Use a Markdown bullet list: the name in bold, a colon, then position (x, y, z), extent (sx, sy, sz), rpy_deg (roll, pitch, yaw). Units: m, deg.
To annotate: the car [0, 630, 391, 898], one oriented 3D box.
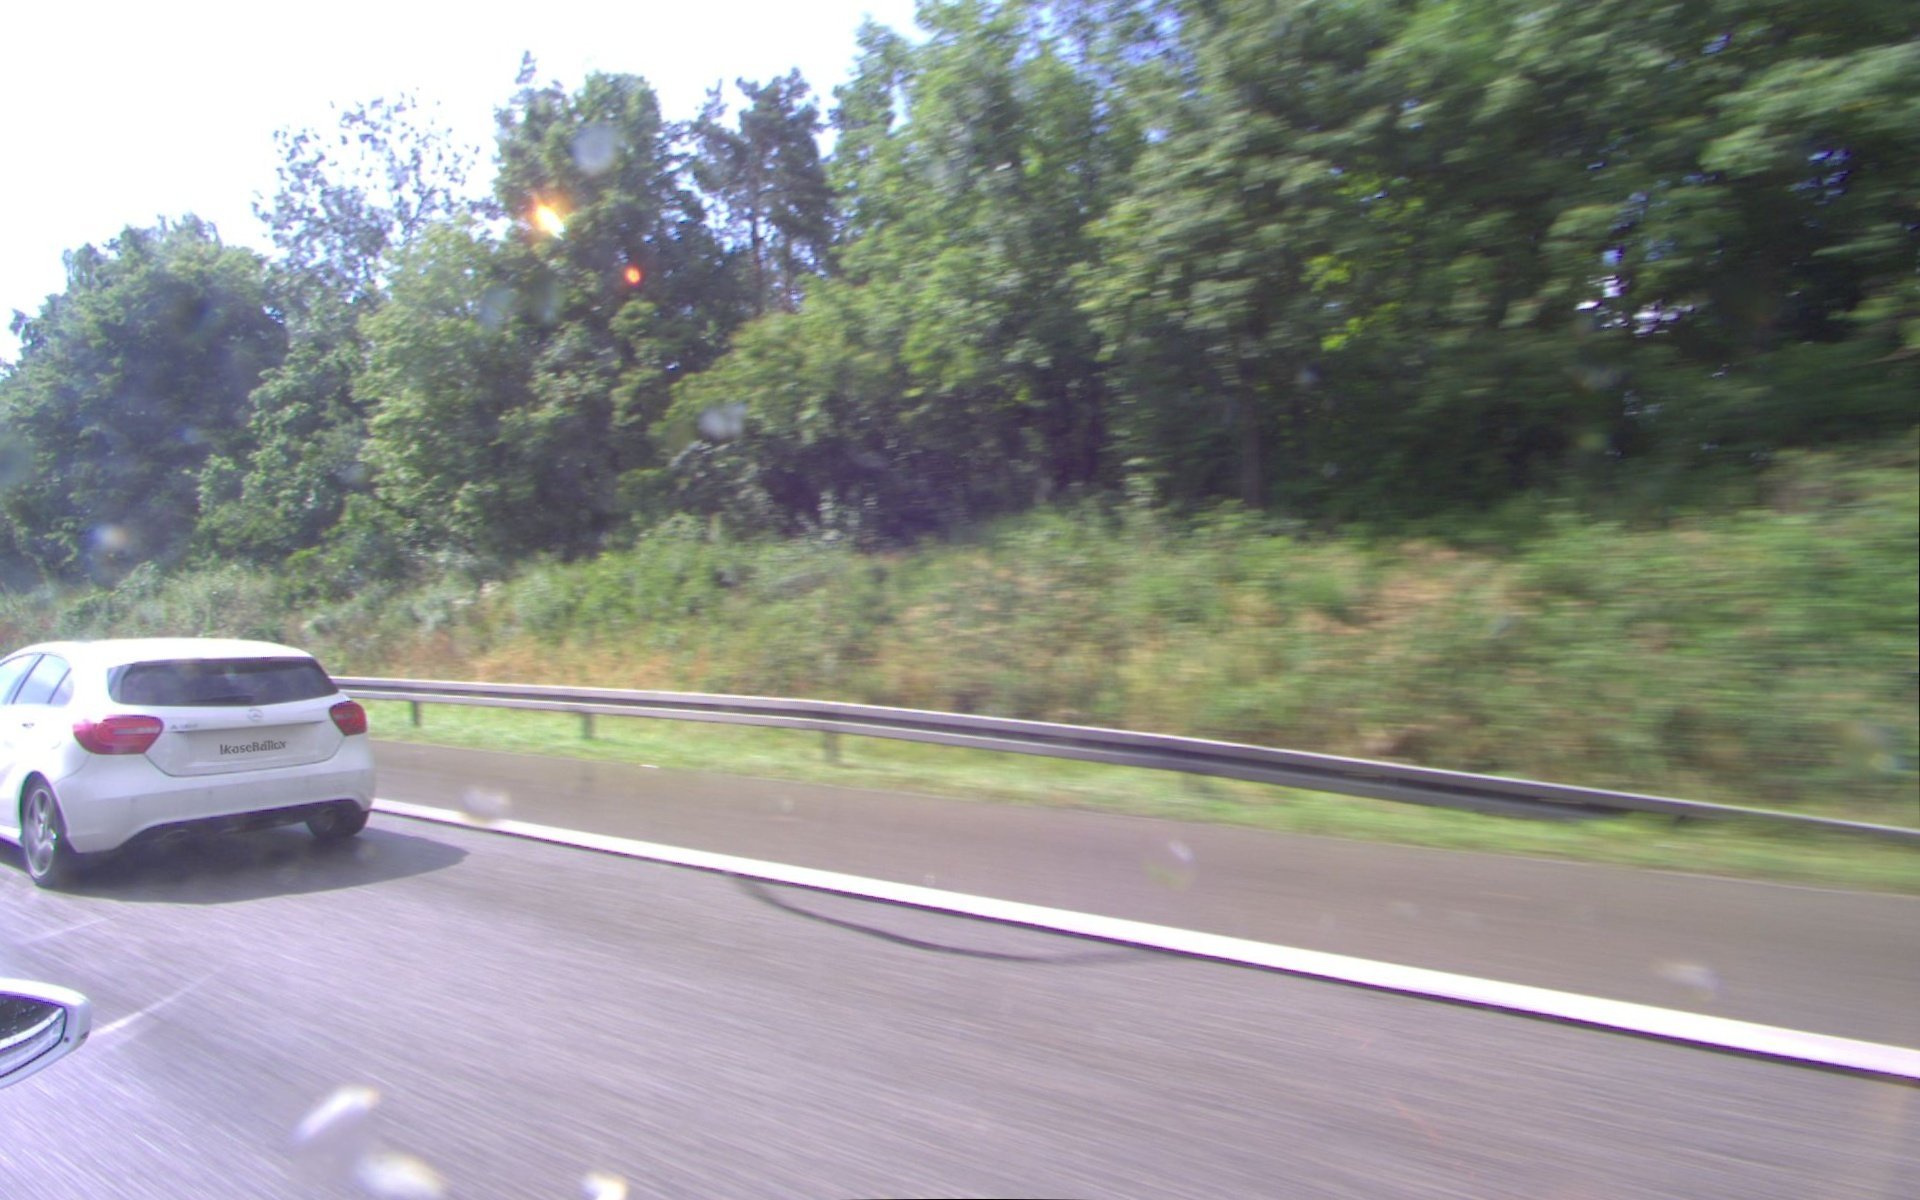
- **car**: position (-6.092, 0.951, 7.261), extent (4.160, 1.443, 1.689), rpy_deg (-1, -2, 33)
